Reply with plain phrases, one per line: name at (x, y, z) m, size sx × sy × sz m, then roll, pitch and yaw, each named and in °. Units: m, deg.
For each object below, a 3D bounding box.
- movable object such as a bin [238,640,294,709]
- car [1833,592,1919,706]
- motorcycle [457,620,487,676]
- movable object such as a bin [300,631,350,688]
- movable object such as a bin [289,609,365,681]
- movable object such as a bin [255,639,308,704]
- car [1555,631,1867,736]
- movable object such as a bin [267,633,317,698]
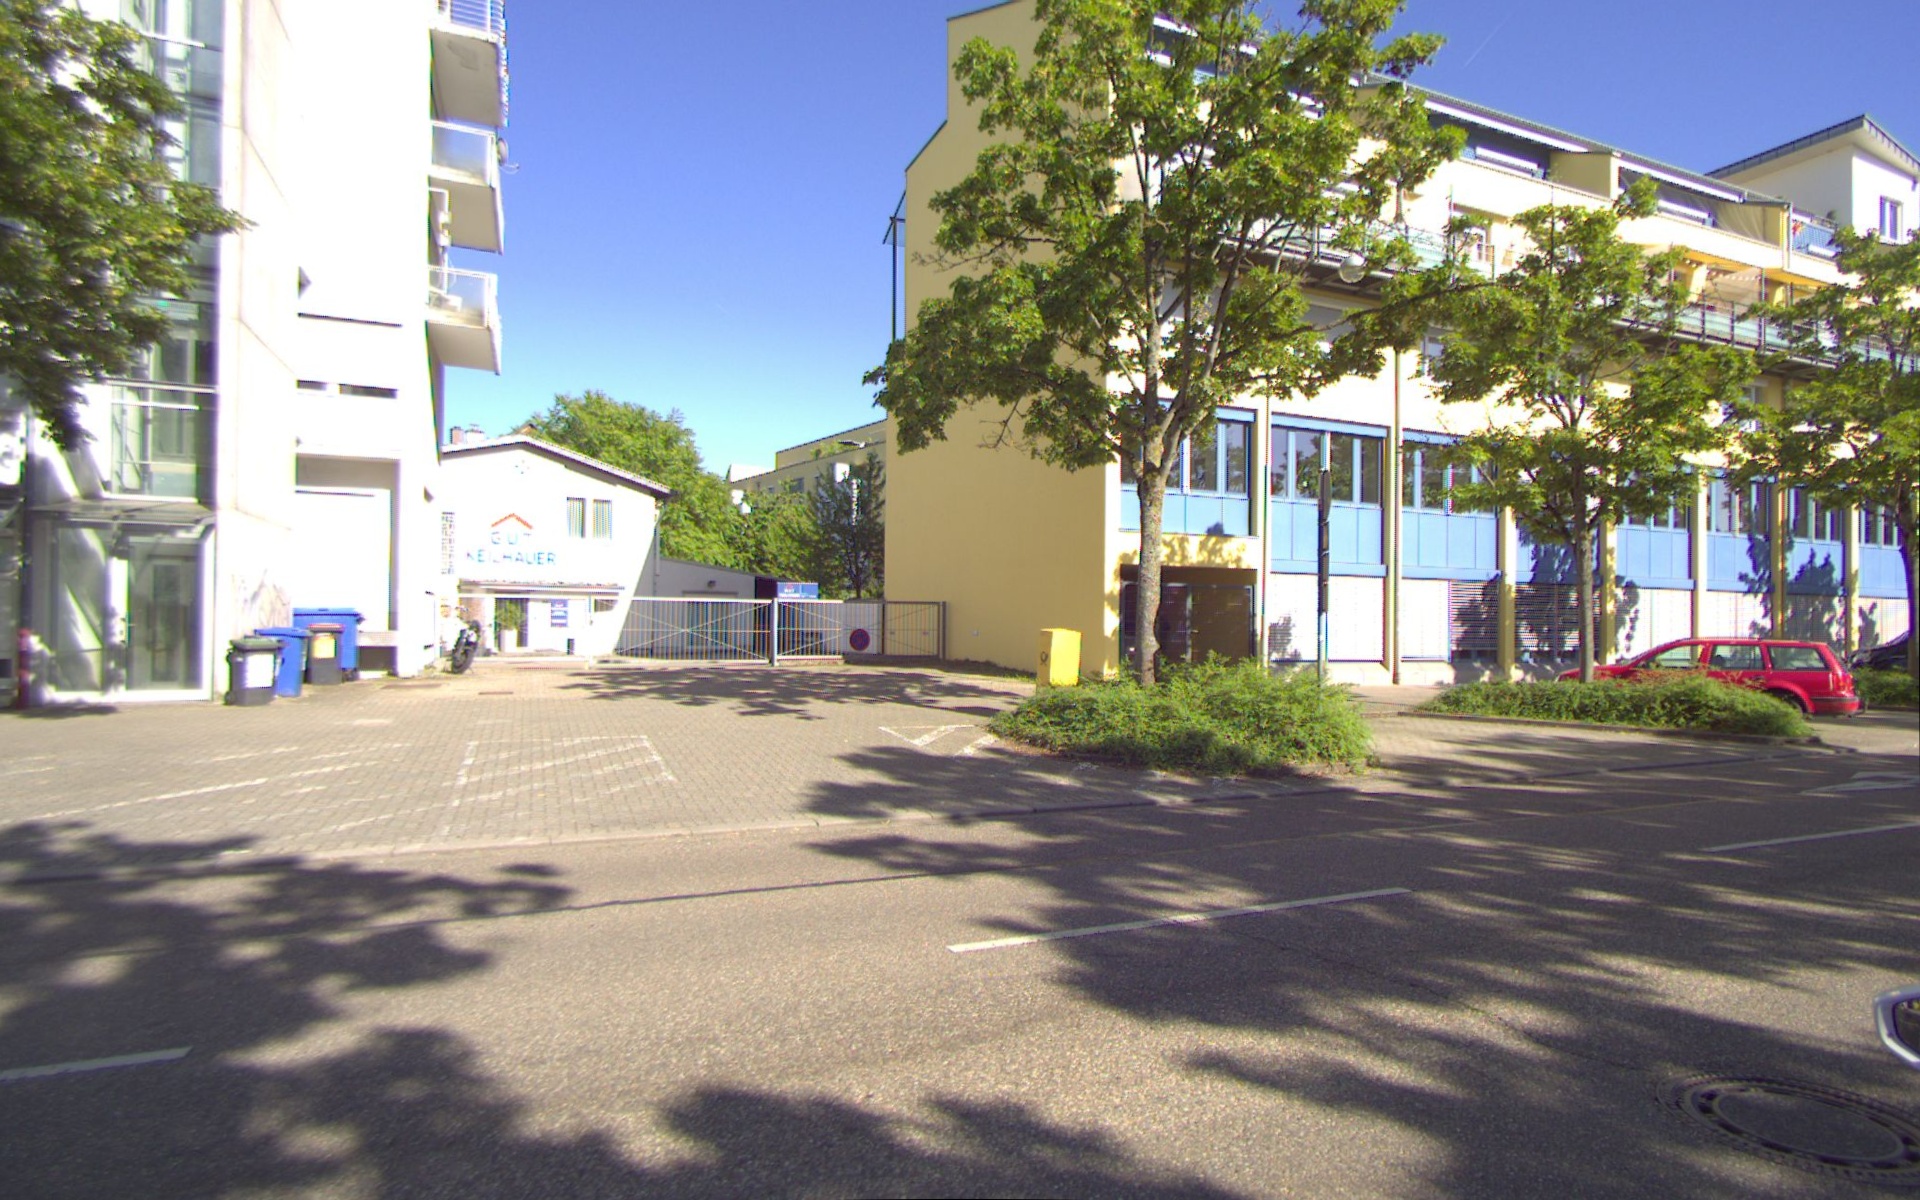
movable object such as a bin at (-9.880, 1.045, 14.315) m, size 0.568 × 0.940 × 0.617 m, roll 1°, pitch -2°, yaw -28°
car at (22.680, 1.094, 21.885) m, size 5.422 × 2.469 × 2.176 m, roll 1°, pitch 0°, yaw 40°
motorcycle at (-10.614, 1.028, 21.867) m, size 0.519 × 1.149 × 1.907 m, roll 1°, pitch -2°, yaw -24°
movable object such as a bin at (-11.266, 1.042, 17.827) m, size 0.682 × 0.985 × 0.617 m, roll 1°, pitch -2°, yaw -28°
movable object such as a bin at (-11.626, 0.824, 18.470) m, size 1.107 × 1.297 × 0.617 m, roll 1°, pitch -2°, yaw -28°
movable object such as a bin at (-10.137, 1.056, 15.023) m, size 0.568 × 0.940 × 0.617 m, roll 1°, pitch -2°, yaw -28°
car at (12.909, 1.345, 17.477) m, size 4.171 × 1.495 × 1.762 m, roll 1°, pitch 0°, yaw 40°
movable object such as a bin at (-10.465, 1.014, 15.742) m, size 0.568 × 0.985 × 0.617 m, roll 1°, pitch -2°, yaw -28°
